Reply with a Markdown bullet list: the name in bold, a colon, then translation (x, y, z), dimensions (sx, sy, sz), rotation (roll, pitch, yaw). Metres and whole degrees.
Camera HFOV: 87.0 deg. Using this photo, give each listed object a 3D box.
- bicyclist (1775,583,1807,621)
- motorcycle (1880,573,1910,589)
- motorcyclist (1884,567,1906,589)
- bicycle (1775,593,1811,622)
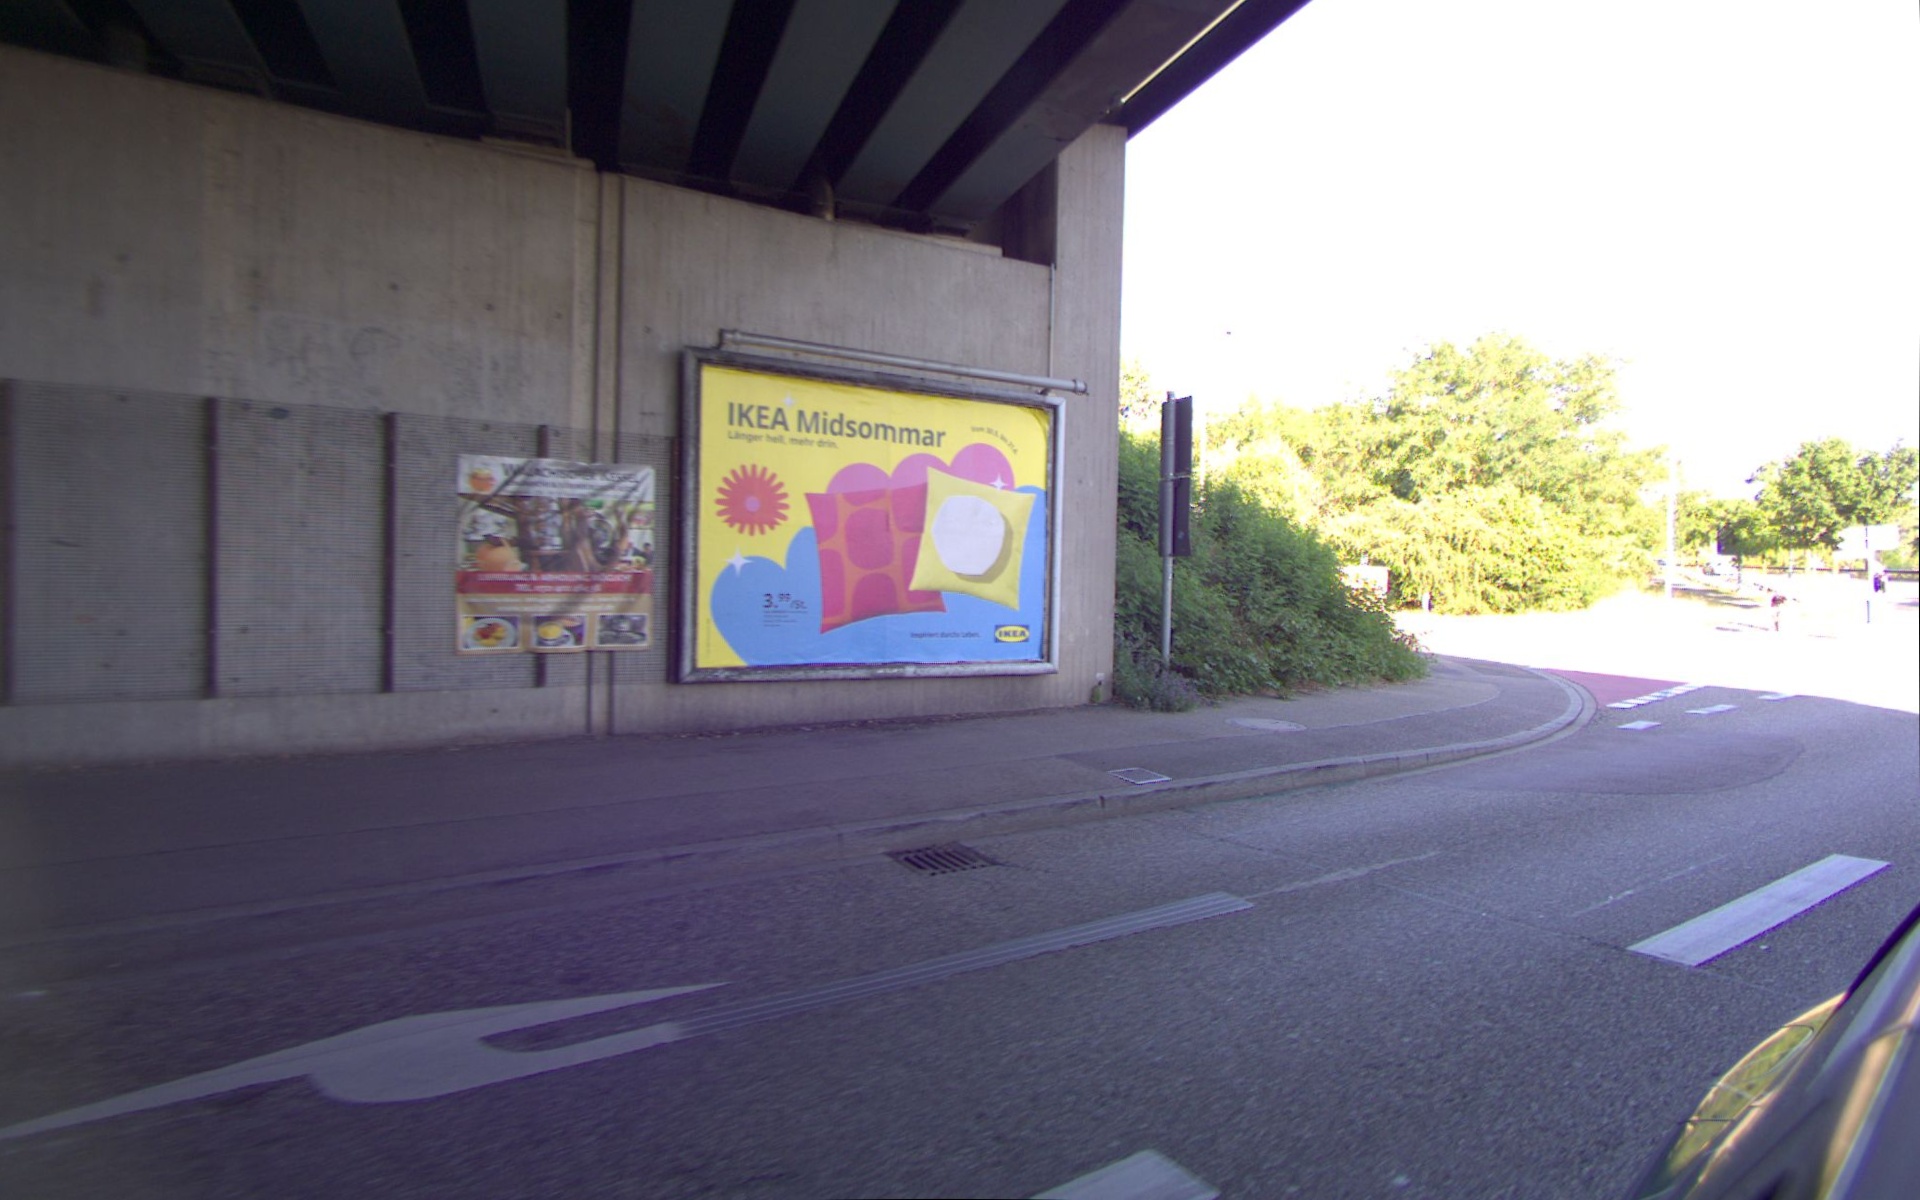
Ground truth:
- **bicyclist**: translation (31.951, 0.071, 38.916), dimensions (0.838, 1.439, 1.100), rotation (-1, 0, 34)
- **motorcycle**: translation (63.798, -1.274, 69.044), dimensions (2.305, 1.059, 0.812), rotation (-1, 0, -28)
- **motorcyclist**: translation (63.756, -1.505, 69.007), dimensions (0.860, 1.460, 0.841), rotation (0, 0, -28)
- **bicycle**: translation (31.857, 0.266, 38.728), dimensions (0.777, 1.070, 2.467), rotation (-1, 0, 33)
